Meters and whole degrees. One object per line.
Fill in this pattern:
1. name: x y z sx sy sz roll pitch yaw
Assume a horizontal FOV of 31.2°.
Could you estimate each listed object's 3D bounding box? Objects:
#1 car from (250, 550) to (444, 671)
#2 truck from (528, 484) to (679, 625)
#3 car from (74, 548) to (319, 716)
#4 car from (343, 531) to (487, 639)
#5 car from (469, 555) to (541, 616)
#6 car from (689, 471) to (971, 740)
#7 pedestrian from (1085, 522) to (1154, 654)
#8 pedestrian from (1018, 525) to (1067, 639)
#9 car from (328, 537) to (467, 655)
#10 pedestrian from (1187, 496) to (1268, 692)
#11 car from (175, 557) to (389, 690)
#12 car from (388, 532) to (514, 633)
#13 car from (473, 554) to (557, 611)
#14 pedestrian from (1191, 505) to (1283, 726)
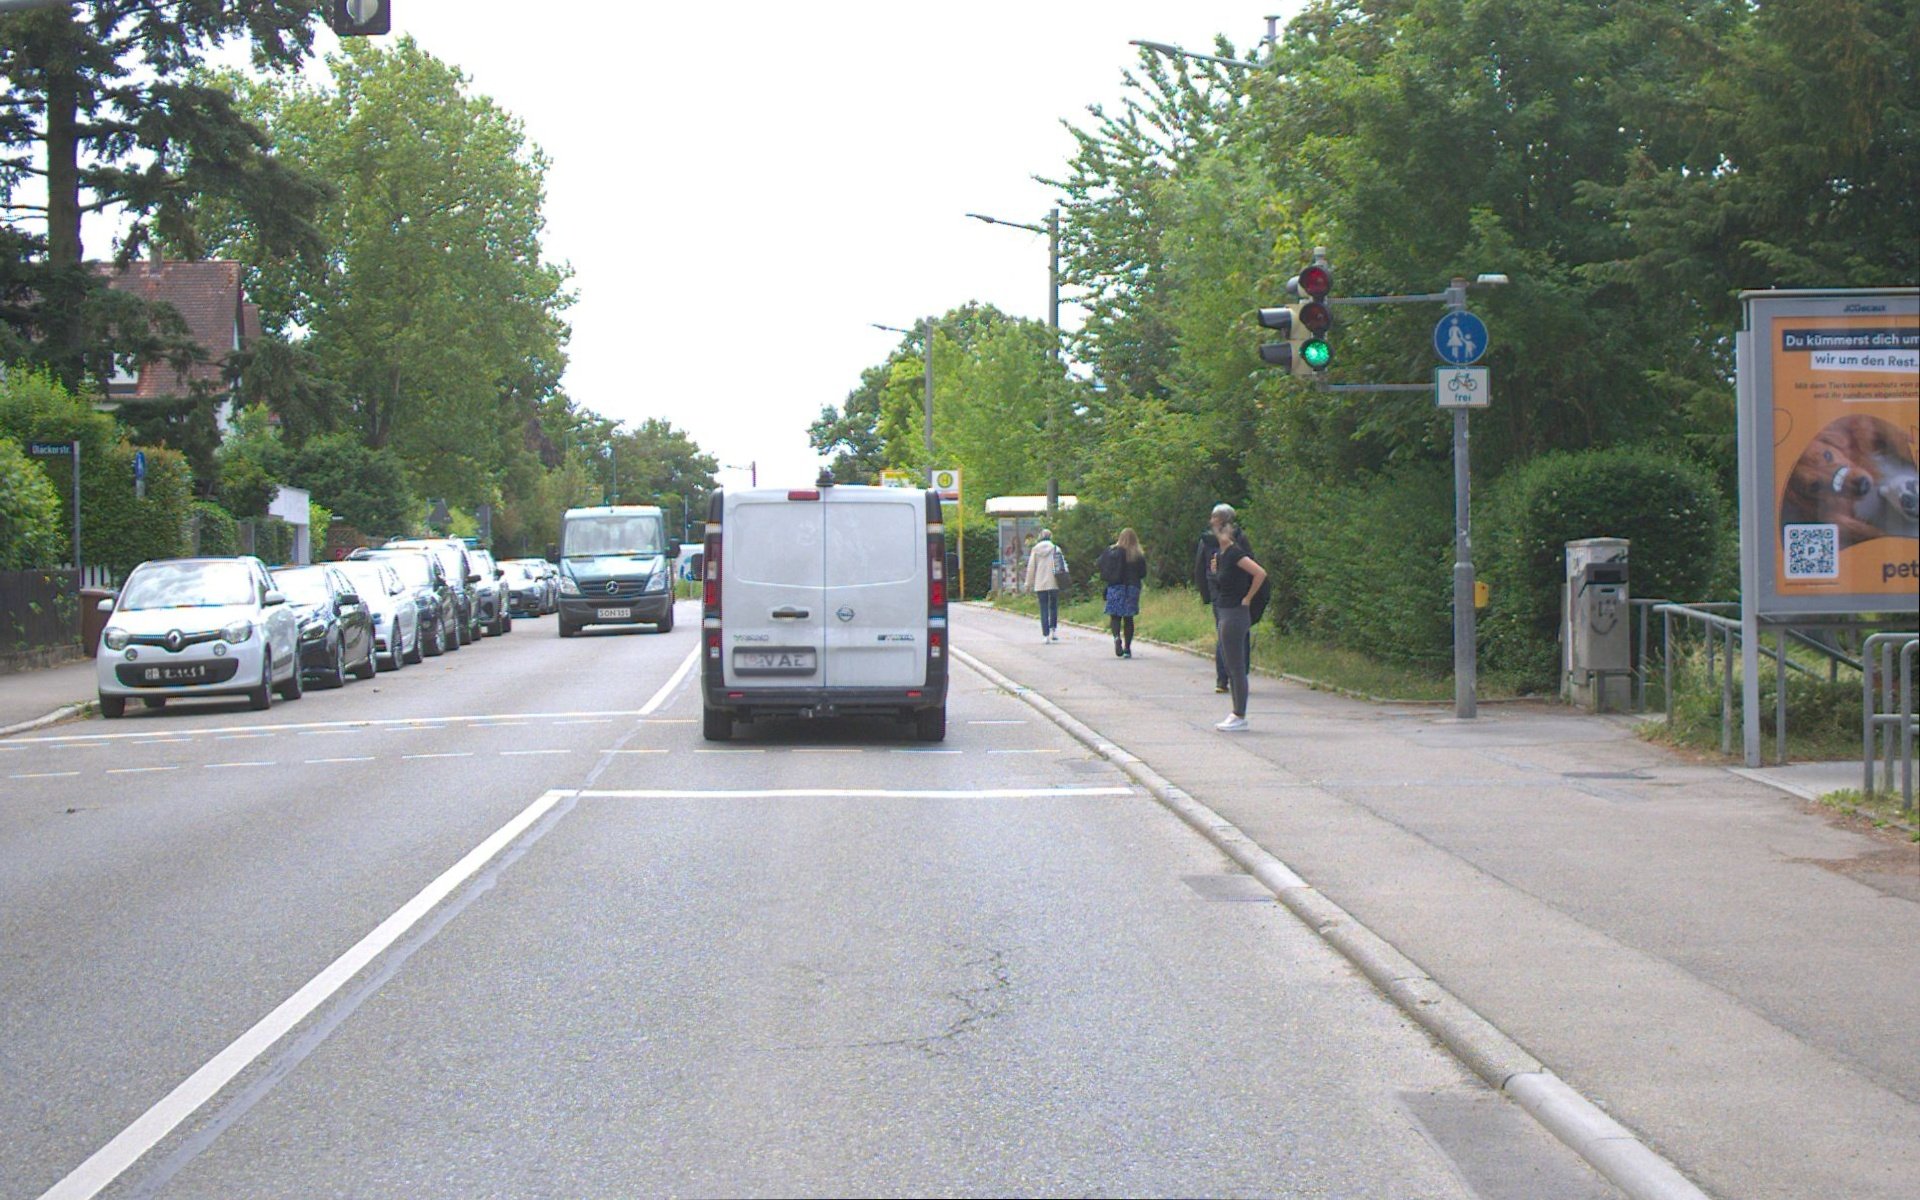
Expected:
1. car: -8.239 0.100 46.616 1.805 1.454 5.069 -2 1 -2
2. truck: -6.422 -0.849 62.675 2.189 2.363 6.905 -2 1 -2
3. car: -7.753 0.282 35.217 1.702 1.538 3.743 -2 1 -1
4. car: -9.308 -0.277 59.070 2.066 1.748 4.884 1 1 -5
5. car: -11.385 -0.388 85.912 1.651 1.422 3.907 -2 1 -9
6. car: -1.090 0.011 27.617 2.034 1.939 4.994 1 1 -3
7. pedestrian: 2.027 -0.156 43.783 0.840 1.653 0.766 1 0 1
8. pedestrian: 1.215 -0.263 50.549 0.686 1.653 0.690 1 0 1
9. car: -8.716 -0.104 53.544 1.626 1.672 4.584 -3 1 -4
10. pedestrian: 2.603 -0.061 33.480 0.745 1.876 0.801 1 0 3
11. car: -7.991 0.236 40.871 1.742 1.405 4.323 -2 1 -1
12. car: -9.608 -0.362 65.148 1.984 1.813 4.708 -1 1 -4
13. car: -11.730 -0.471 90.819 1.867 1.454 4.489 -1 0 -3
14. pedestrian: 2.117 0.112 26.363 0.647 1.658 0.708 1 0 2
